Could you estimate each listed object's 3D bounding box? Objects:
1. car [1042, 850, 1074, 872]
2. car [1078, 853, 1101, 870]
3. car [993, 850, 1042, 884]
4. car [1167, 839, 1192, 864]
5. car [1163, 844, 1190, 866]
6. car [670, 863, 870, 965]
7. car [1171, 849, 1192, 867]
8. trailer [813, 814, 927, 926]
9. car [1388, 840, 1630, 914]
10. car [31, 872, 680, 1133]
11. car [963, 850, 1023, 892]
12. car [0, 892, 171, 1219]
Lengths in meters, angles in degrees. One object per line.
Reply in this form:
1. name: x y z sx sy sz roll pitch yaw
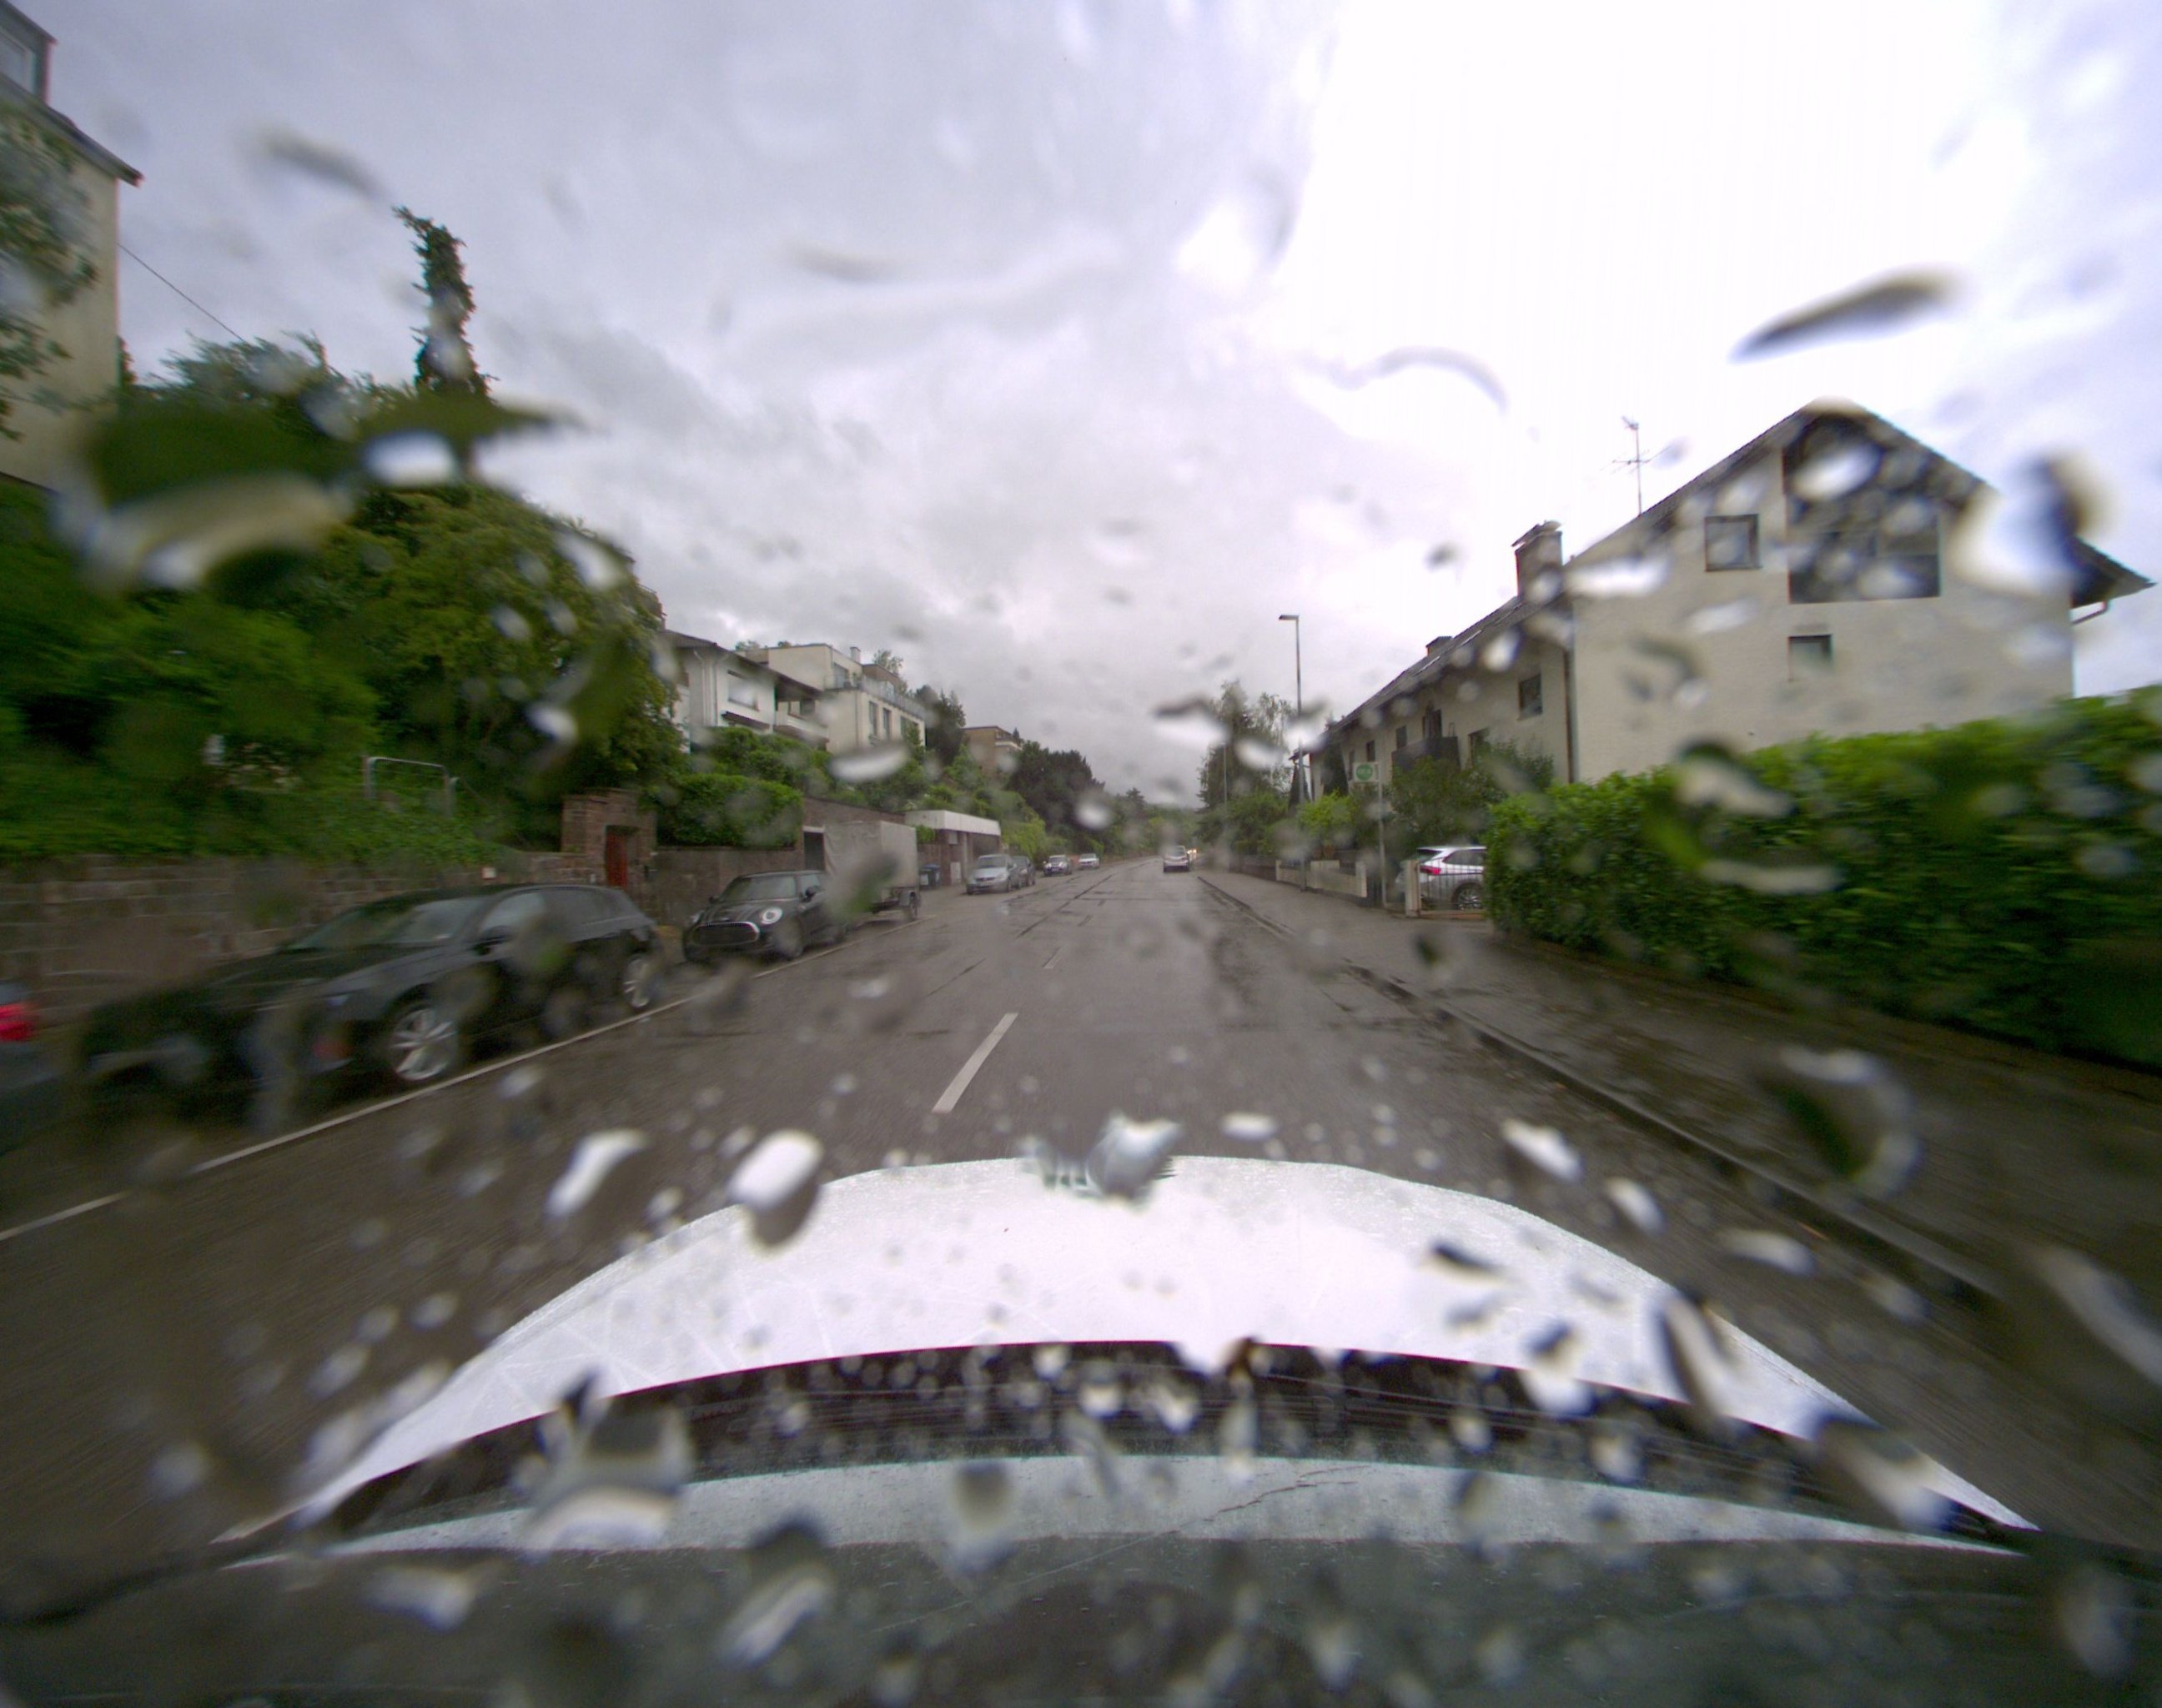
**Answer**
1. car: -1.607 0.480 57.053 1.748 1.402 3.774 -4 0 4
2. car: 0.859 0.712 76.109 1.747 1.498 4.226 -3 0 5
3. car: -3.038 0.588 39.779 1.748 1.409 3.709 -5 0 4
4. car: 7.596 -0.201 62.623 1.775 1.790 4.370 -1 0 8
5. car: 6.740 0.066 57.174 1.779 1.460 4.317 -1 0 8
6. car: -5.149 0.924 14.090 1.801 1.349 3.778 -3 0 2
7. car: 8.508 0.342 68.764 1.700 1.403 4.212 -1 0 8
8. trailer: -5.016 0.350 19.730 1.529 2.399 3.078 -4 0 6
9. car: 8.863 0.440 17.119 4.205 1.446 1.703 0 1 1
10. car: -5.613 0.987 7.232 1.778 1.415 4.220 -3 0 2
11. car: -3.645 0.673 34.377 1.748 1.539 3.760 -5 0 4
12. car: -5.897 1.017 2.014 1.779 1.454 4.756 -4 0 1
